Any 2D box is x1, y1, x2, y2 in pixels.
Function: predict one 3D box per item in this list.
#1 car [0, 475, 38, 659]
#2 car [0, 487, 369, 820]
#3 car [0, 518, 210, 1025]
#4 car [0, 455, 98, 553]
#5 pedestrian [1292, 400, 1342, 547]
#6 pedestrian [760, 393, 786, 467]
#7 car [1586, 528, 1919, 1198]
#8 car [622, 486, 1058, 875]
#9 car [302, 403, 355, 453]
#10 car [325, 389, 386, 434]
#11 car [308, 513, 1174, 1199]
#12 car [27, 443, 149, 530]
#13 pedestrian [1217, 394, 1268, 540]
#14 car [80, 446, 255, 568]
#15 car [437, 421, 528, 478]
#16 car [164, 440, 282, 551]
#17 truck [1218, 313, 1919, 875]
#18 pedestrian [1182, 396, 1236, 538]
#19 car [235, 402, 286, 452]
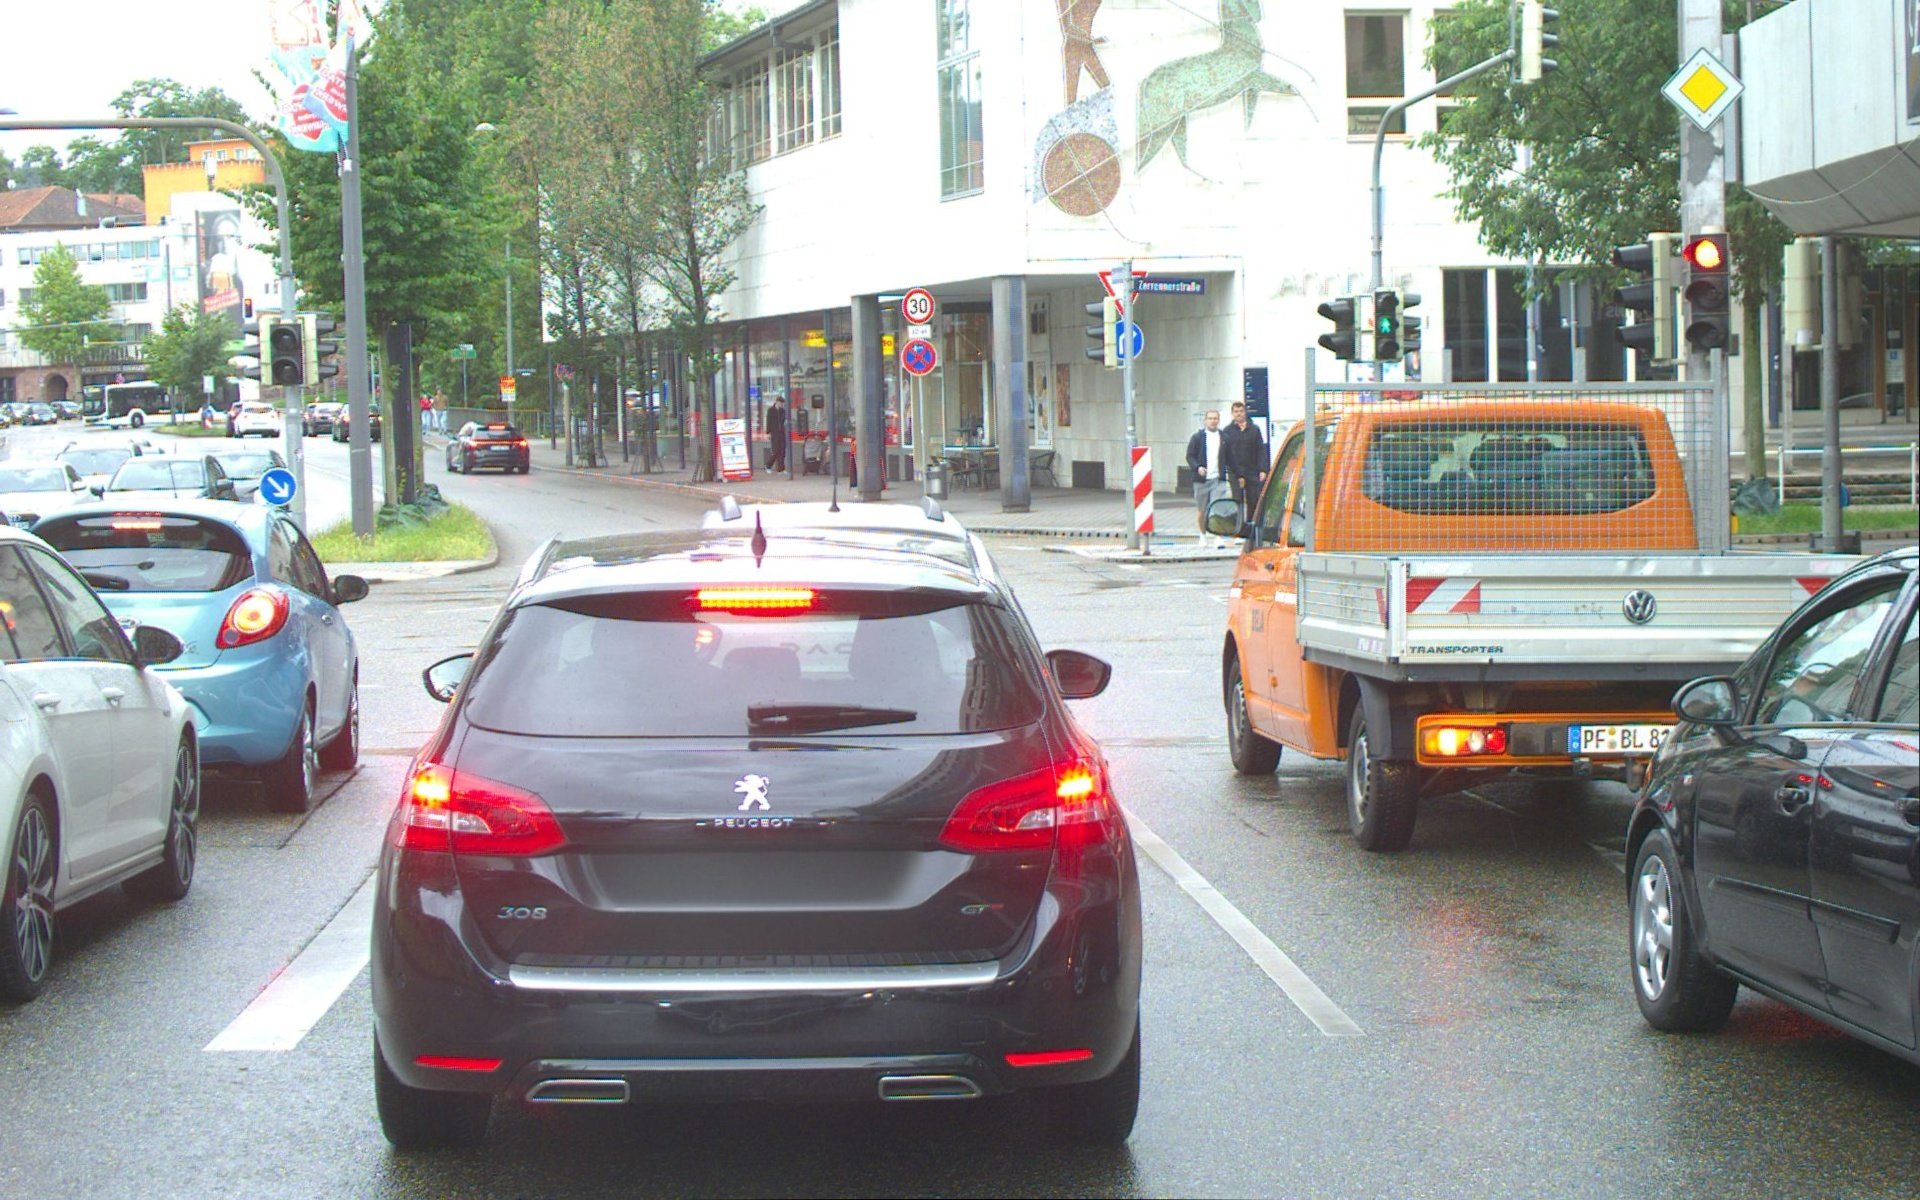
[{"bbox_3d":[-9.178,-0.175,26.625,1.636,1.463,3.746,-4,0,32],"label":"car"},{"bbox_3d":[-3.971,0.191,17.480,1.632,1.481,3.610,0,2,-5],"label":"car"},{"bbox_3d":[-3.722,0.455,11.451,1.777,1.424,3.843,0,2,-3],"label":"car"},{"bbox_3d":[-14.676,-1.544,54.223,1.632,1.481,3.611,0,2,-7],"label":"car"},{"bbox_3d":[4.672,-1.650,45.009,0.637,1.891,0.733,0,0,6],"label":"pedestrian"},{"bbox_3d":[-4.511,-4.095,82.940,0.468,1.742,0.541,1,0,-21],"label":"pedestrian"},{"bbox_3d":[2.839,0.561,8.593,1.616,1.424,3.843,0,2,-3],"label":"car"},{"bbox_3d":[-0.498,0.254,15.352,1.696,1.481,3.794,0,2,-1],"label":"car"},{"bbox_3d":[-27.058,-7.340,147.196,1.705,1.929,4.001,1,0,-18],"label":"car"},{"bbox_3d":[-23.423,-7.274,133.146,1.724,1.485,4.734,1,0,-17],"label":"car"},{"bbox_3d":[-0.453,0.504,9.009,1.777,1.424,3.842,0,2,0],"label":"car"},{"bbox_3d":[-15.458,-2.026,61.078,1.632,1.481,3.611,0,2,-7],"label":"car"},{"bbox_3d":[3.715,-1.738,45.159,0.637,1.891,0.733,0,0,6],"label":"pedestrian"},{"bbox_3d":[-10.989,-1.256,47.909,1.744,1.574,4.000,1,0,-4],"label":"car"},{"bbox_3d":[-13.364,-4.218,96.084,1.787,1.449,4.508,-4,4,-17],"label":"car"},{"bbox_3d":[-11.691,-1.629,54.714,1.744,1.634,4.001,1,0,-11],"label":"car"},{"bbox_3d":[2.592,-0.120,15.854,2.177,2.165,5.021,1,2,-3],"label":"truck"},{"bbox_3d":[3.145,-1.672,43.352,0.637,1.752,0.733,0,0,6],"label":"pedestrian"},{"bbox_3d":[-29.726,-7.335,145.988,1.705,1.875,4.001,1,0,-18],"label":"car"}]
